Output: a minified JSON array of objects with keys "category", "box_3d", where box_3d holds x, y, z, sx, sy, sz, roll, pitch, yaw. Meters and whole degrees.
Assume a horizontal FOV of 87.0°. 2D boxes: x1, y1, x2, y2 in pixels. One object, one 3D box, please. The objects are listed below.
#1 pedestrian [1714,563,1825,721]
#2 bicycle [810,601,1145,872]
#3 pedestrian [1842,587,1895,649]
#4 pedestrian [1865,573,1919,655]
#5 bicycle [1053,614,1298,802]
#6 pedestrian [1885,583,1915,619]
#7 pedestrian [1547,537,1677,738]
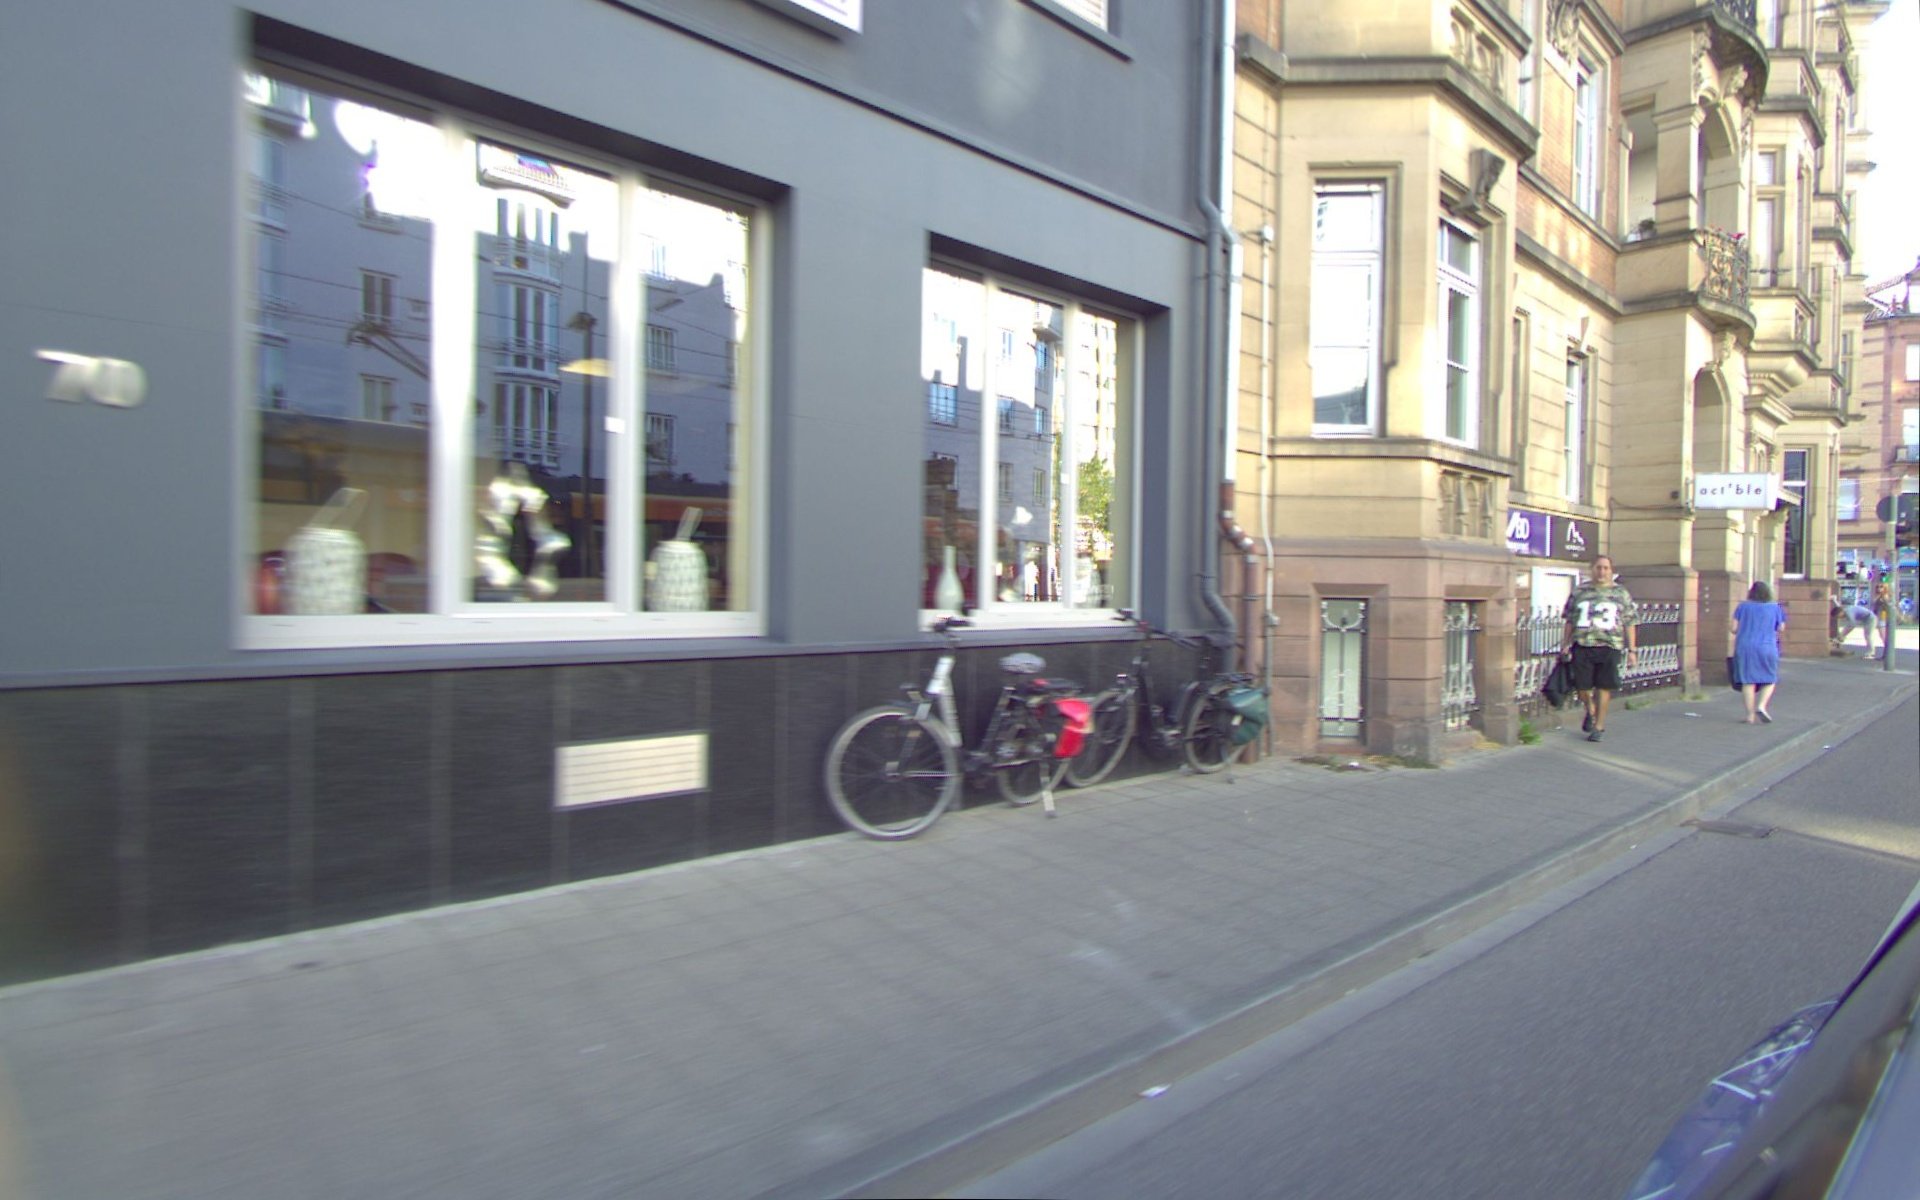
[{"category":"pedestrian","box_3d":[9.095,0.445,11.374,0.818,1.665,0.764,1,2,-42]},{"category":"bicycle","box_3d":[0.160,0.640,5.561,1.875,1.212,0.624,0,4,-43]},{"category":"pedestrian","box_3d":[20.942,0.396,23.320,0.707,1.347,0.795,-1,4,-43]},{"category":"pedestrian","box_3d":[20.705,0.292,22.461,0.707,1.742,0.795,-1,4,-43]},{"category":"bicycle","box_3d":[1.499,0.662,6.861,1.771,1.083,0.593,1,4,-39]},{"category":"pedestrian","box_3d":[48.113,0.044,51.797,1.065,1.829,1.024,0,1,-45]},{"category":"pedestrian","box_3d":[6.379,0.337,9.908,0.784,1.846,0.802,1,2,-42]}]
